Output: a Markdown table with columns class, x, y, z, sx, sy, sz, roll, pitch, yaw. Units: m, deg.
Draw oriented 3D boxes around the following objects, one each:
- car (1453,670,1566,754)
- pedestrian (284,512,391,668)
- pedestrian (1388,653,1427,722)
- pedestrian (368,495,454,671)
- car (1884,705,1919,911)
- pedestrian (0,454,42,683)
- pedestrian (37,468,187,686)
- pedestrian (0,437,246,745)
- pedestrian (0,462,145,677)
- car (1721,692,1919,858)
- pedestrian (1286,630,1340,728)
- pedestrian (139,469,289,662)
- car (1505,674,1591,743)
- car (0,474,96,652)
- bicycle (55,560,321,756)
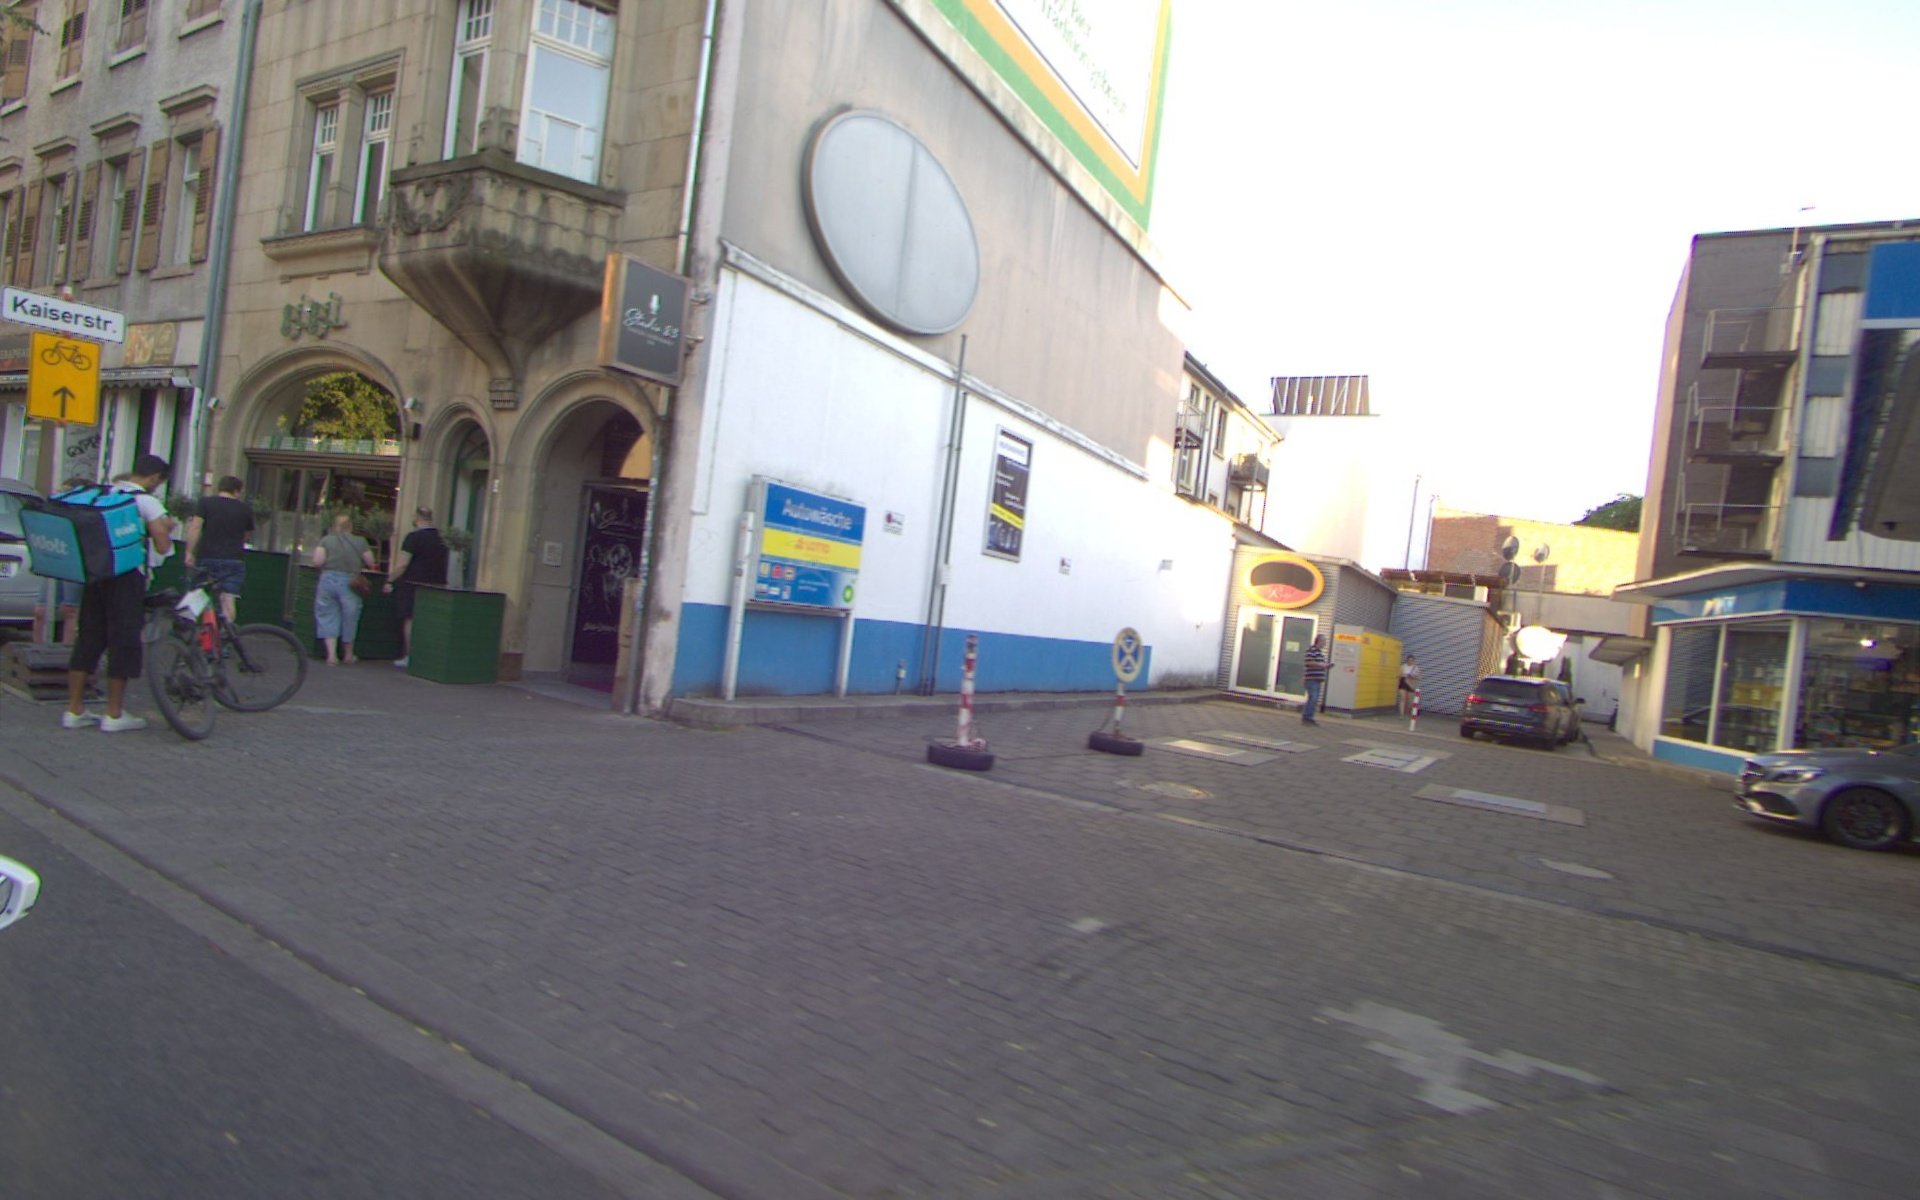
| class | x | y | z | sx | sy | sz | roll | pitch | yaw |
| --- | --- | --- | --- | --- | --- | --- | --- | --- | --- |
| car | 12.191 | 2.399 | 22.196 | 1.871 | 1.419 | 4.227 | 7 | -1 | 31 |
| pedestrian | -6.717 | -0.100 | 10.859 | 0.690 | 1.583 | 0.659 | 7 | 3 | 32 |
| pedestrian | 11.440 | 2.226 | 25.716 | 0.637 | 1.674 | 0.691 | 8 | 2 | 31 |
| pedestrian | -6.181 | -0.183 | 11.331 | 0.492 | 1.899 | 0.461 | 7 | 1 | 17 |
| car | 8.966 | 1.695 | 5.919 | 4.828 | 1.448 | 1.736 | 6 | 0 | 32 |
| pedestrian | -7.860 | -0.287 | 7.802 | 0.810 | 1.776 | 0.679 | 7 | 1 | 21 |
| pedestrian | -7.175 | -0.189 | 8.539 | 0.657 | 1.723 | 0.651 | 5 | 2 | -12 |
| pedestrian | -5.615 | -0.061 | 6.728 | 0.766 | 1.850 | 1.015 | 7 | 2 | 22 |
| pedestrian | -7.764 | -0.259 | 8.718 | 0.810 | 1.728 | 0.679 | 7 | 2 | 17 |
| car | 10.649 | 1.936 | 9.976 | 4.681 | 1.419 | 1.712 | 6 | 0 | 32 |
| pedestrian | 6.598 | 1.467 | 18.807 | 0.644 | 1.737 | 0.547 | 8 | 2 | 31 |
| pedestrian | -7.851 | -0.362 | 10.594 | 1.079 | 1.878 | 0.823 | 7 | 3 | 30 |
| car | 15.563 | 2.816 | 26.632 | 1.703 | 1.461 | 3.895 | 7 | -1 | 31 |
| car | -10.356 | -0.538 | 9.889 | 3.947 | 1.596 | 1.687 | 7 | 2 | 32 |
| bicycle | -5.341 | 0.340 | 7.138 | 0.854 | 1.113 | 1.917 | 6 | 2 | -19 |
